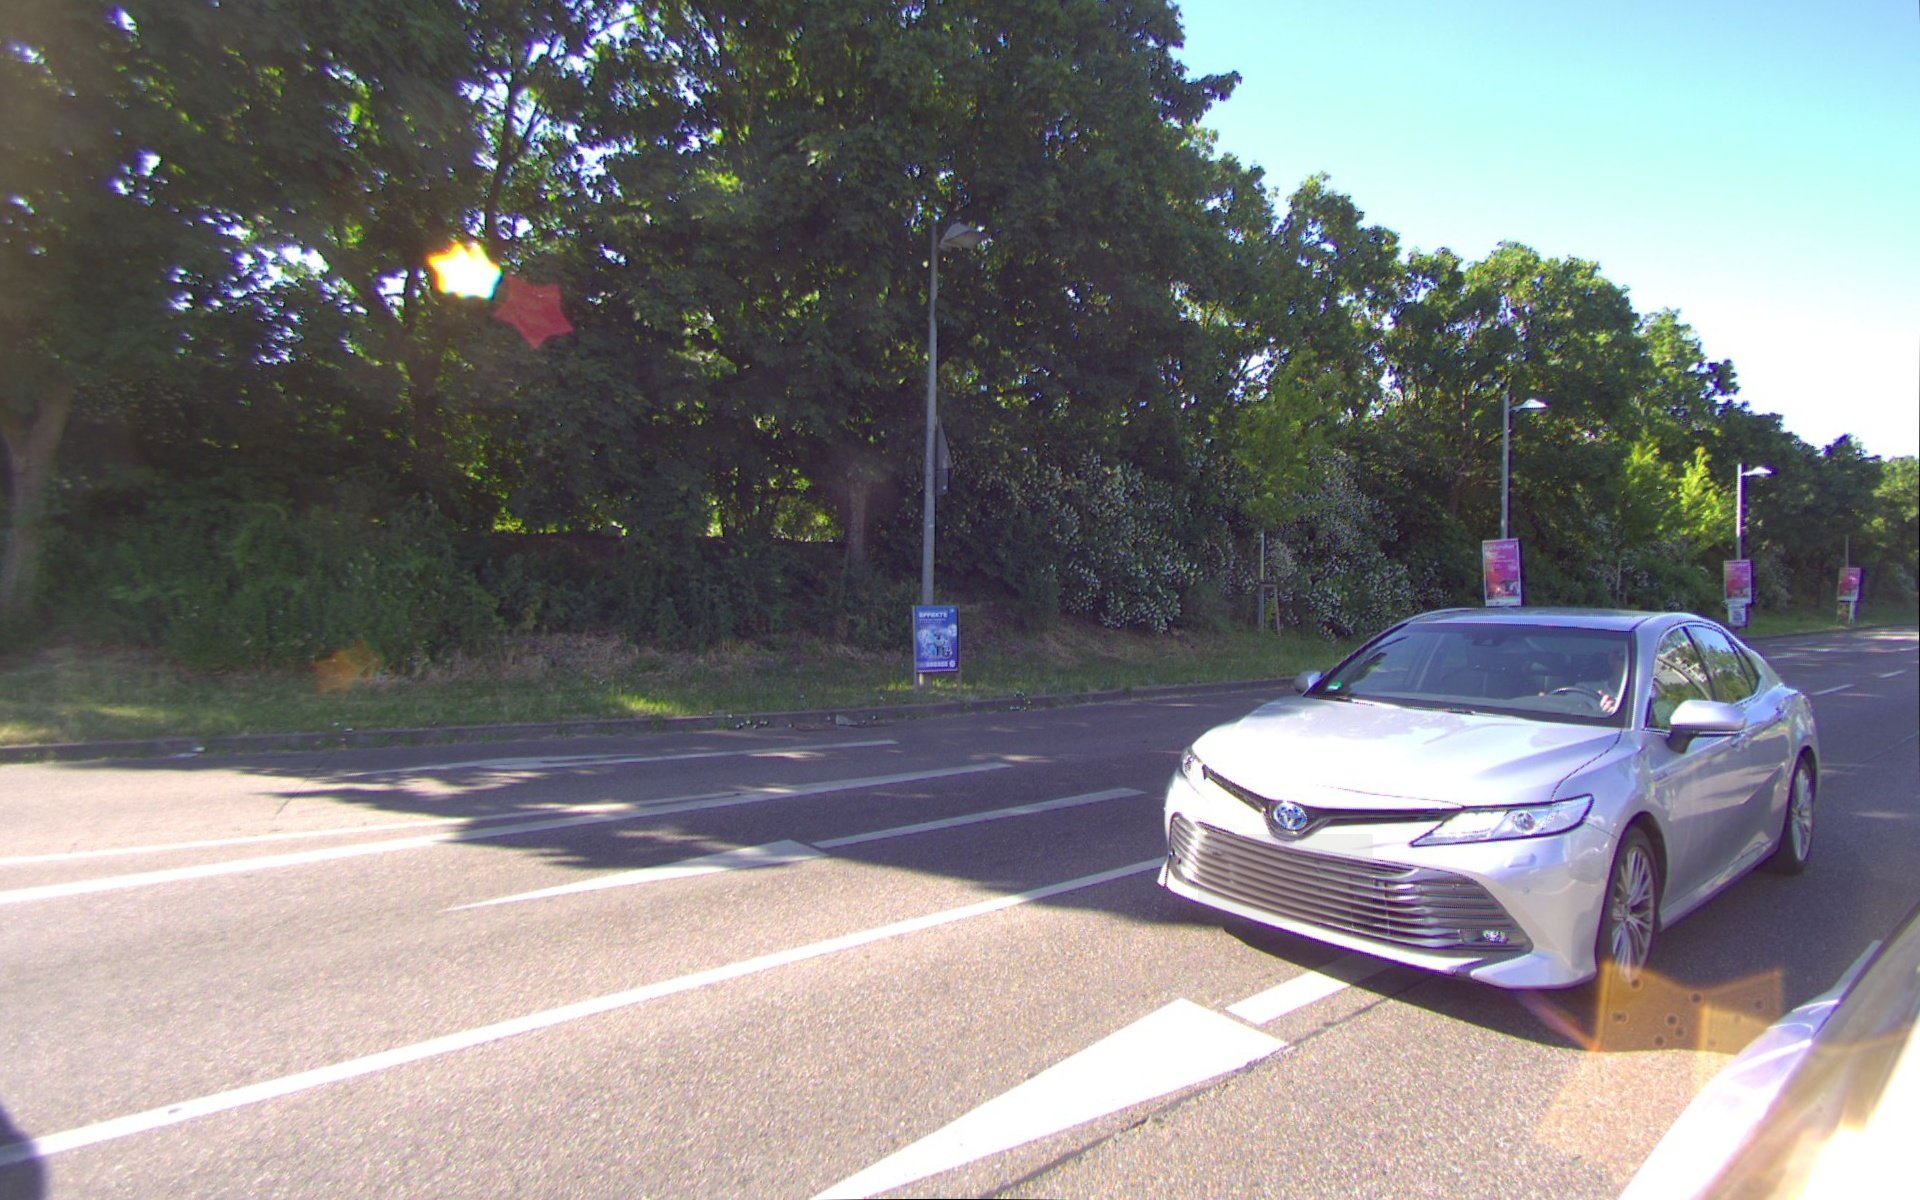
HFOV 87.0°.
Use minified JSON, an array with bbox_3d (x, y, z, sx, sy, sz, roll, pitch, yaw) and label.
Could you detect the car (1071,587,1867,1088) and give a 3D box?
[{"bbox_3d":[2.961,0.700,5.350,4.664,1.477,2.069,0,2,-40],"label":"car"}]
